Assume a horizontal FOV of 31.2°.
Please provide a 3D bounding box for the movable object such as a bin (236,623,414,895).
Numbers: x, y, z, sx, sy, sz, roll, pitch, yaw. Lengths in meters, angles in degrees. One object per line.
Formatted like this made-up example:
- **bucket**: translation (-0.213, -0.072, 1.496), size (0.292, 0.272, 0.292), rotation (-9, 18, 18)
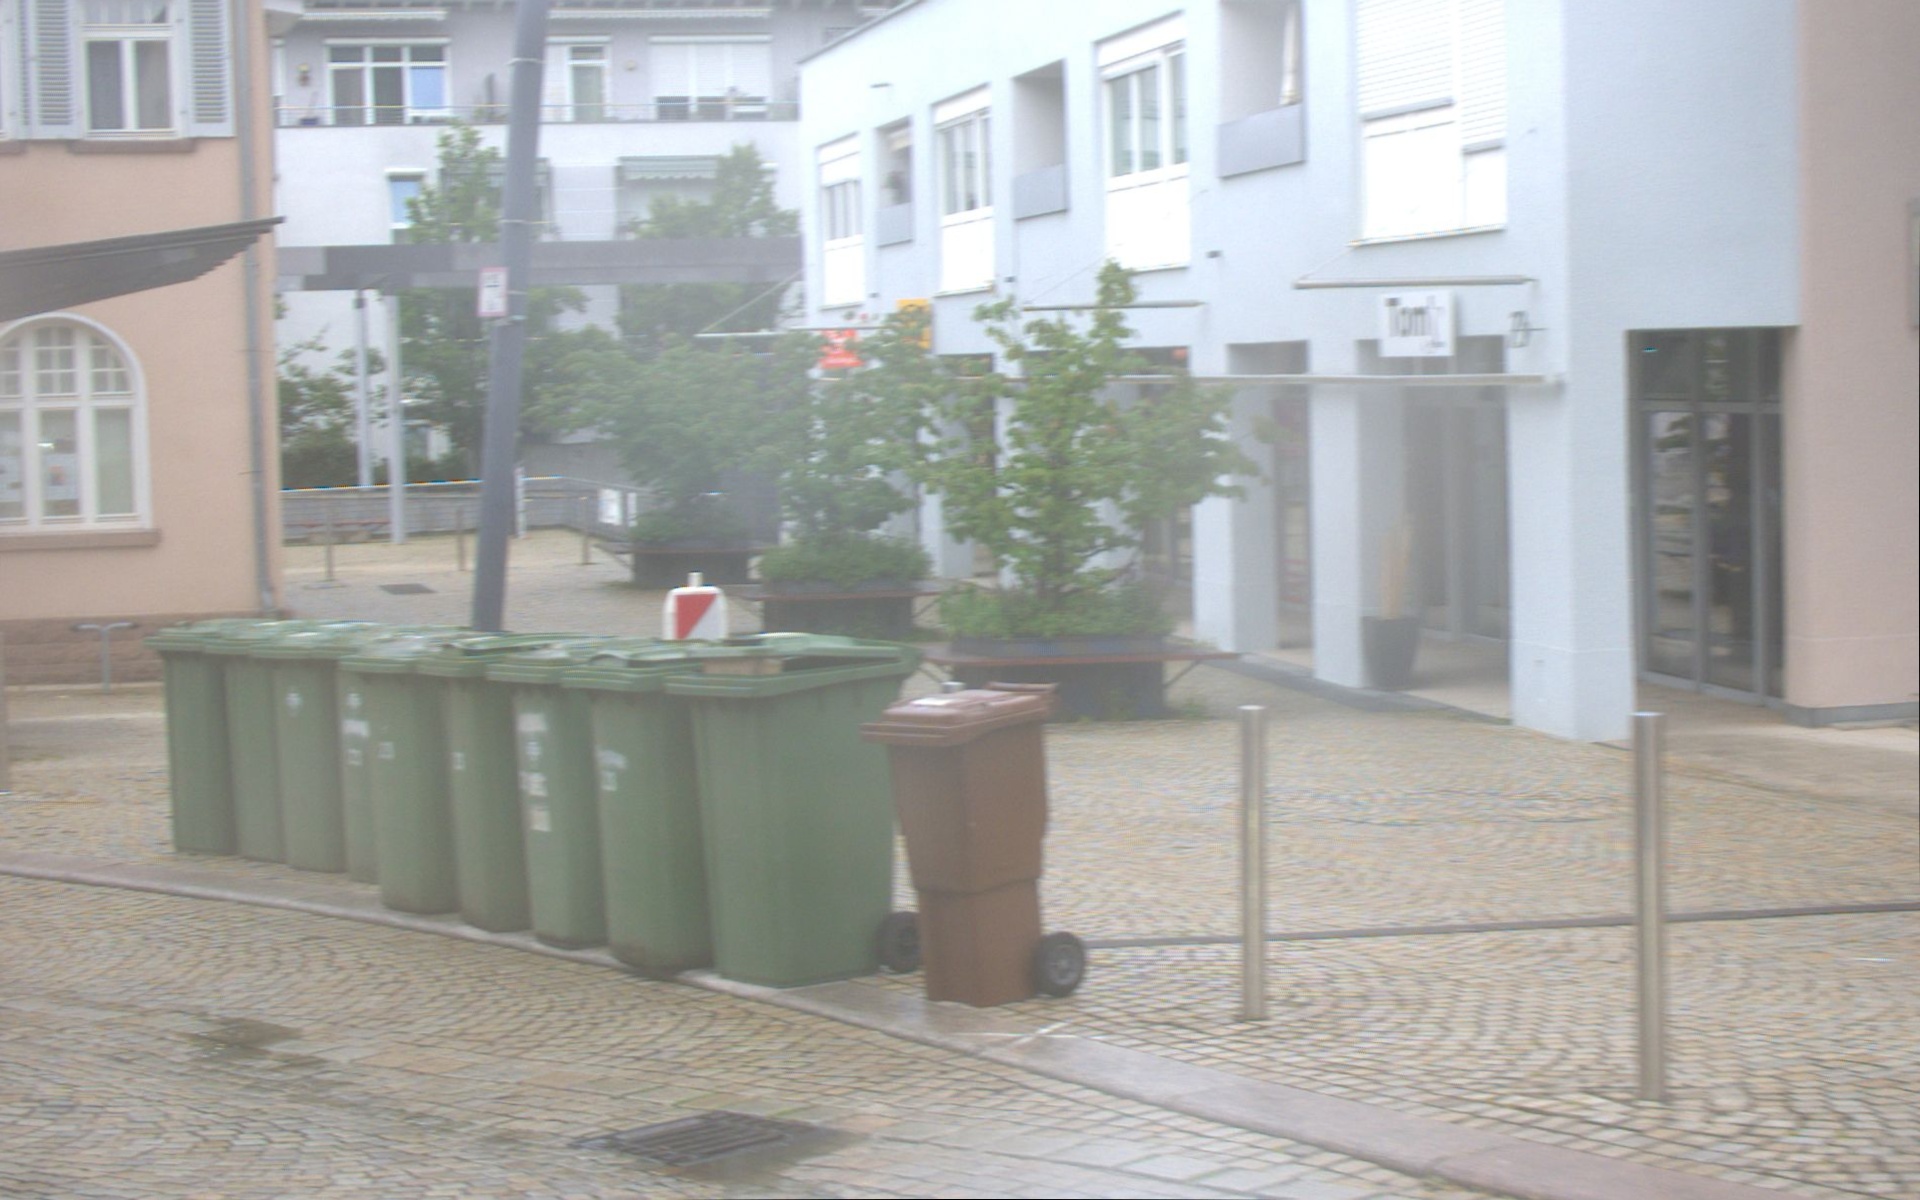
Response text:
- **movable object such as a bin**: translation (-2.770, 0.679, 14.983), size (0.560, 1.122, 0.551), rotation (-3, 2, -31)

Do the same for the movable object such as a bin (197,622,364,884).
- **movable object such as a bin**: translation (-3.065, 0.678, 15.495), size (0.537, 1.122, 0.539), rotation (-3, 2, -31)

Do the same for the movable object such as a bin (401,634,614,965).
- **movable object such as a bin**: translation (-1.679, 0.720, 12.734), size (0.560, 1.155, 0.551), rotation (-3, 2, -31)

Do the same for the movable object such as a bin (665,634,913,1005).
- **movable object such as a bin**: translation (-0.554, 0.687, 11.094), size (0.560, 1.122, 0.551), rotation (-3, 2, -31)

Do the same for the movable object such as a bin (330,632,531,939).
- **movable object such as a bin**: translation (-2.057, 0.705, 13.337), size (0.560, 1.122, 0.551), rotation (-3, 2, -31)

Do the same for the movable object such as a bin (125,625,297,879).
- **movable object such as a bin**: translation (-3.478, 0.693, 15.959), size (0.537, 1.122, 0.539), rotation (-4, 2, -41)

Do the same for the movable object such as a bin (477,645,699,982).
- **movable object such as a bin**: translation (-1.323, 0.740, 12.197), size (0.560, 1.122, 0.542), rotation (-3, 2, -31)

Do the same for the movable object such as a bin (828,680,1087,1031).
- **movable object such as a bin**: translation (-0.007, 0.758, 10.453), size (0.560, 0.988, 0.498), rotation (-4, 2, -40)

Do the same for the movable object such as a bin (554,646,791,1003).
- **movable object such as a bin**: translation (-0.969, 0.735, 11.544), size (0.560, 1.122, 0.551), rotation (-3, 2, -31)

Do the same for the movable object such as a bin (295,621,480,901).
- **movable object such as a bin**: translation (-2.422, 0.666, 14.525), size (0.560, 1.122, 0.551), rotation (-3, 2, -31)
